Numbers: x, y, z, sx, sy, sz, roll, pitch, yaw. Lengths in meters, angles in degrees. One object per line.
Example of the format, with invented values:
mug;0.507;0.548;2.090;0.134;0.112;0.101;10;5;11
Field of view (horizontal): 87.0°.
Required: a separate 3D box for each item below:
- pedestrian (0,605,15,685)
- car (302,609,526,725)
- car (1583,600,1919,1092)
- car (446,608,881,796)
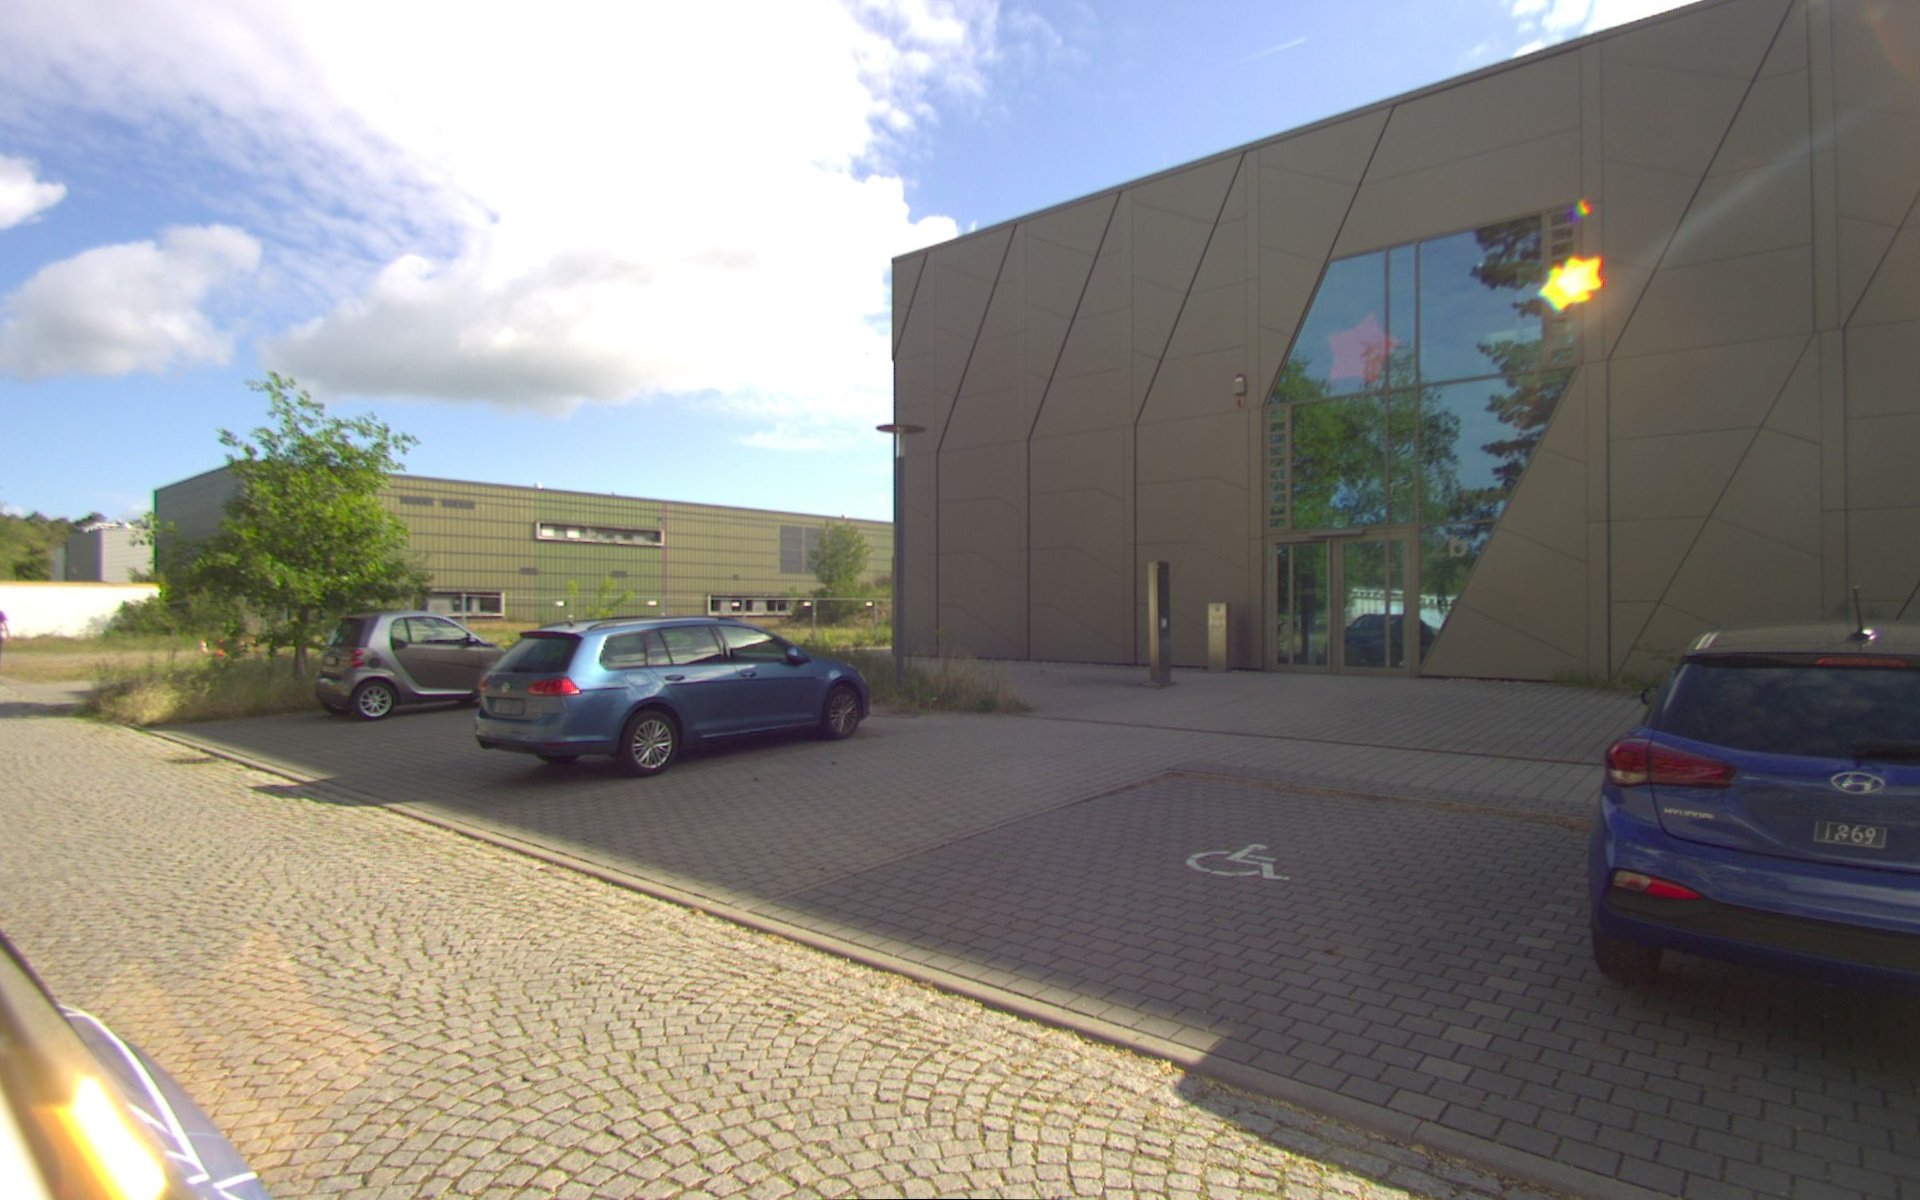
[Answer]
pedestrian;-22.053;1.005;22.884;1.151;1.785;0.797;-1;-1;36
car;-8.386;0.952;15.669;1.517;1.554;2.672;-1;1;39
car;4.262;0.776;4.610;1.720;1.475;3.794;-1;1;43
car;-2.891;0.890;10.706;1.678;1.475;4.216;-2;0;38
